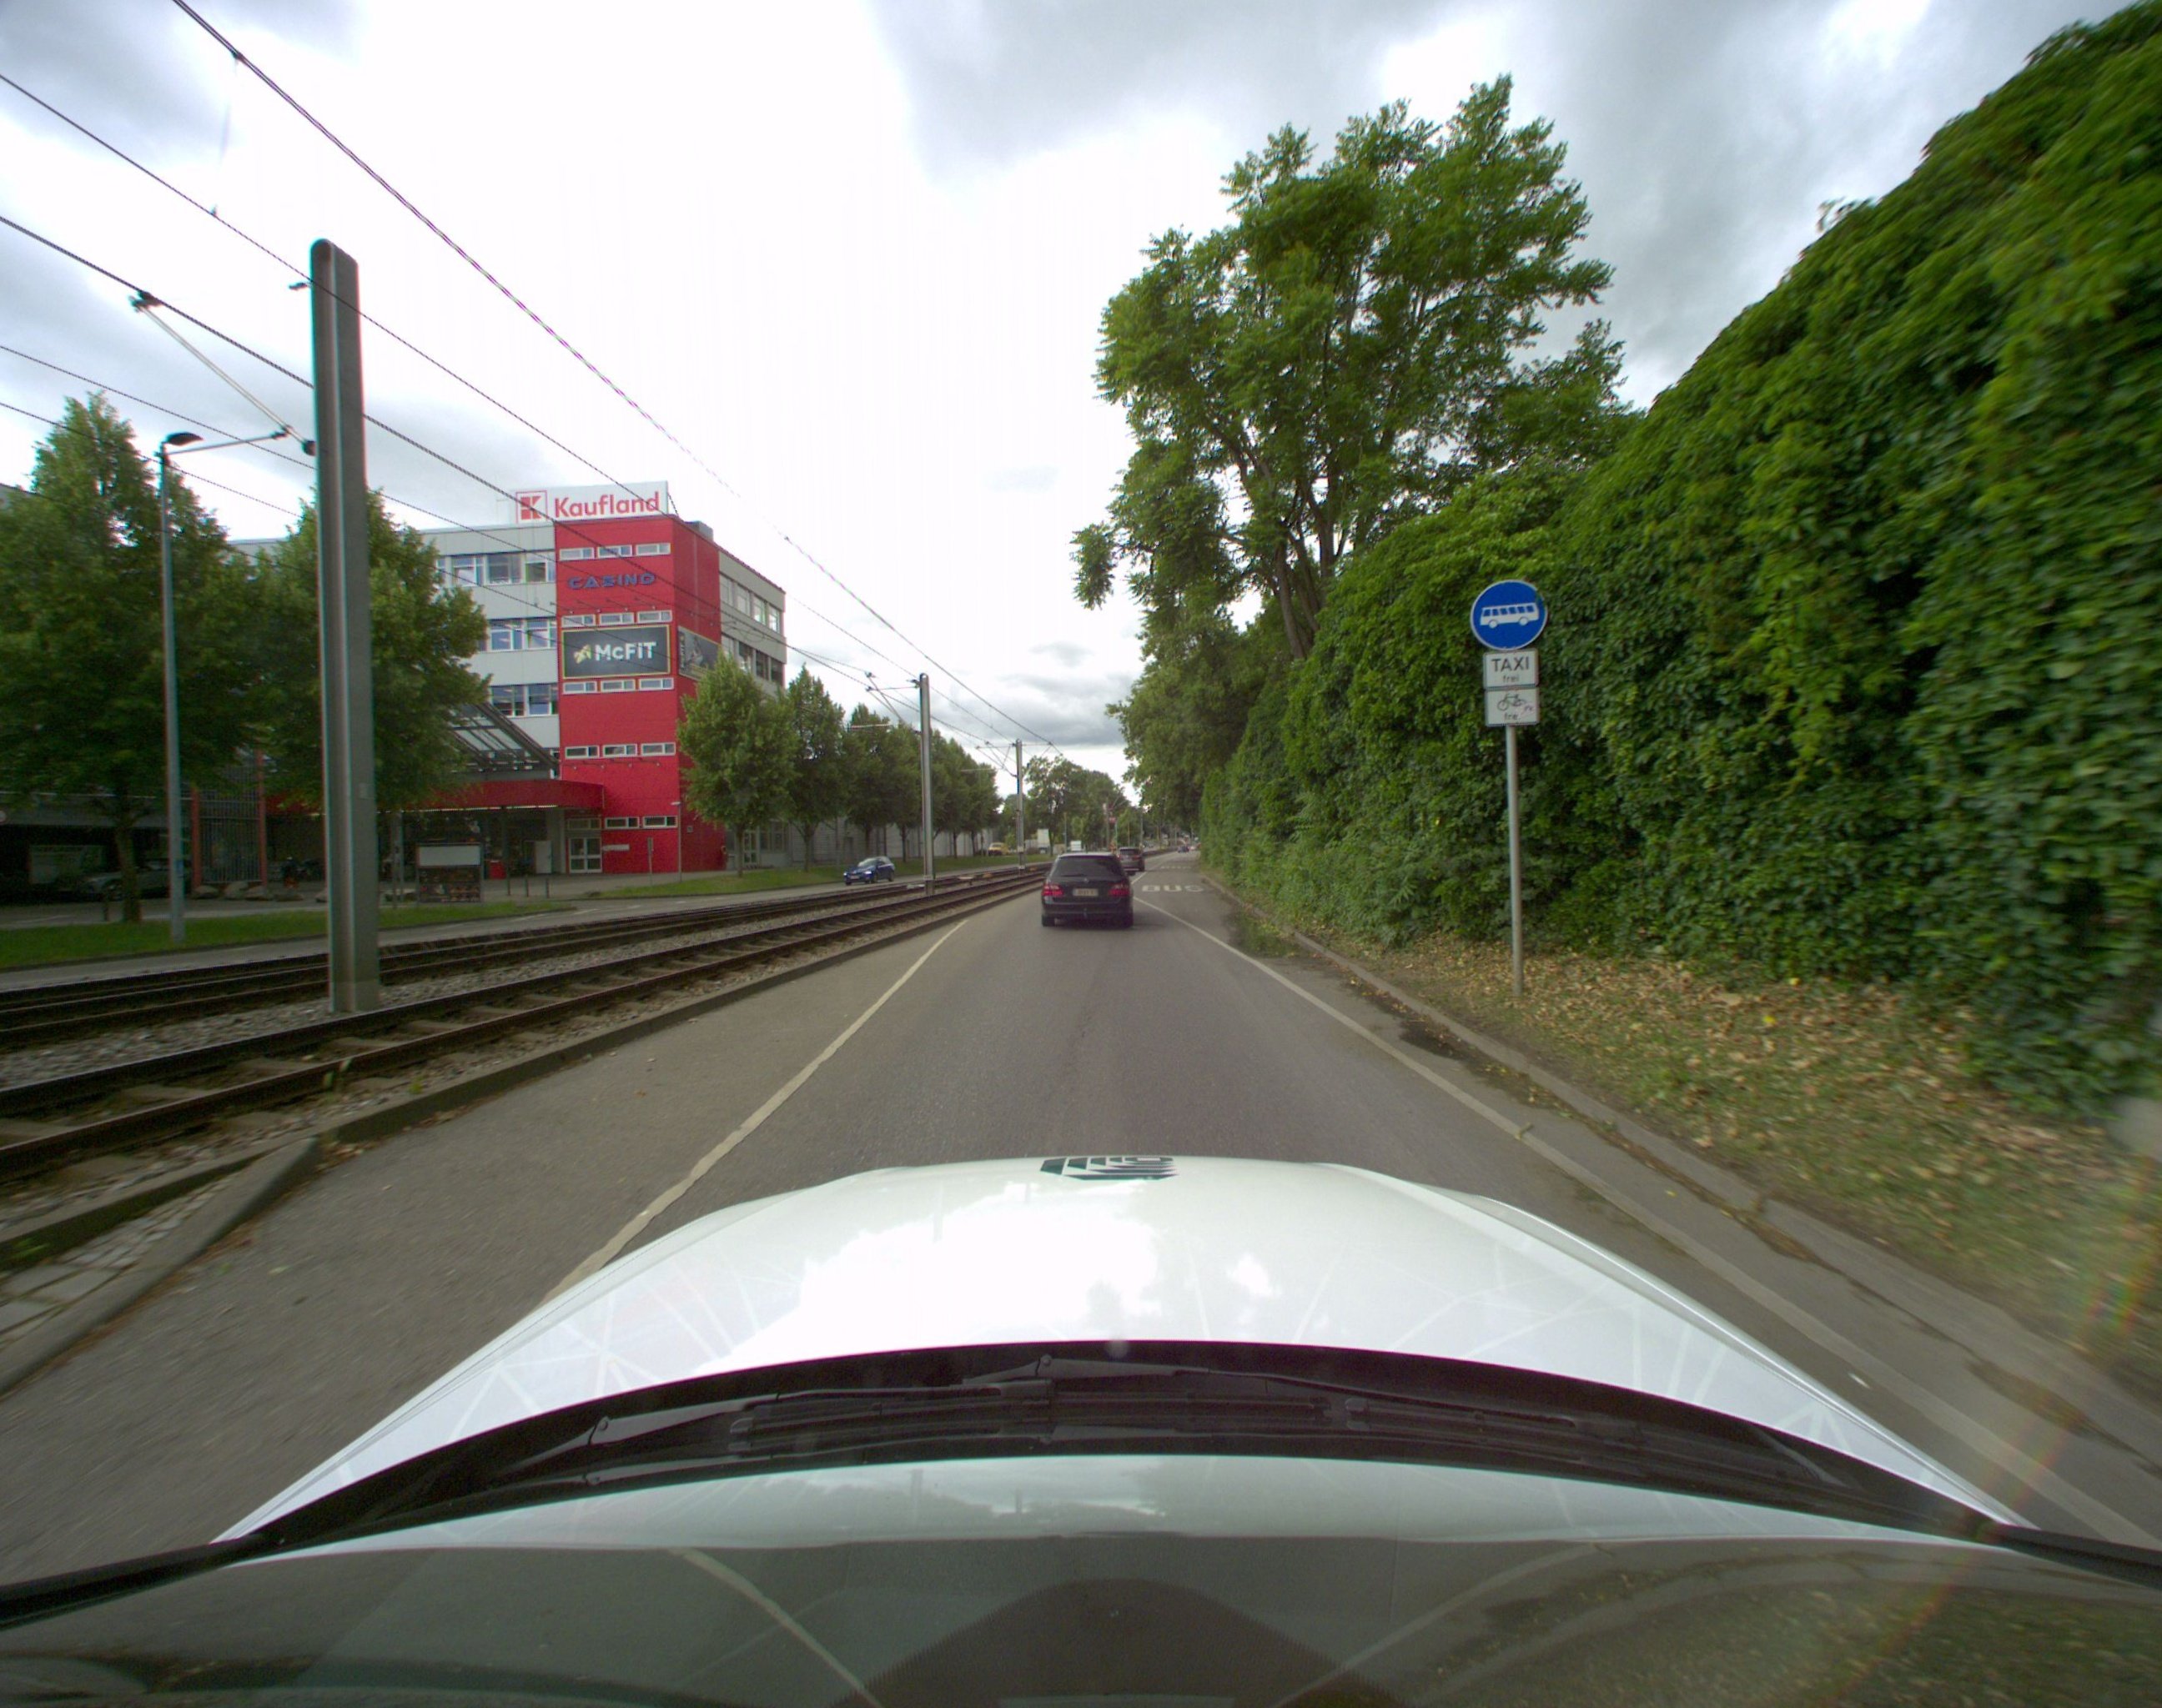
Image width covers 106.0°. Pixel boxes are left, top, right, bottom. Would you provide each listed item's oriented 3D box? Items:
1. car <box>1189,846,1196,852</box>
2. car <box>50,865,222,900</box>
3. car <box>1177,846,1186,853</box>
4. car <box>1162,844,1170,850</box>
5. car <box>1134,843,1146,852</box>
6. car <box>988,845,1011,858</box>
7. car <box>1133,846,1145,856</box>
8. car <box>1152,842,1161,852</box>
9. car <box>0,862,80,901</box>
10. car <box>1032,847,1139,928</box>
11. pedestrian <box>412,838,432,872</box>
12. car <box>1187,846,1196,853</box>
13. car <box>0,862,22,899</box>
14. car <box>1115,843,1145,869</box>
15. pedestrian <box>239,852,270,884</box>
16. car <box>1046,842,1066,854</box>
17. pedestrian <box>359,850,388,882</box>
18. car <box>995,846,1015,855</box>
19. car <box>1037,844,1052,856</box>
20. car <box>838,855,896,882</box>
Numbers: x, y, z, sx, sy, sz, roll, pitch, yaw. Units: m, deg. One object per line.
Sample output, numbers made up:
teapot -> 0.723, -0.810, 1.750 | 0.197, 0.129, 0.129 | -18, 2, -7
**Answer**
car -> 29.444, -1.227, 214.521 | 1.816, 1.530, 4.187 | -1, 0, 6
car -> -37.507, 1.101, 32.504 | 1.448, 1.226, 4.455 | -1, 0, 4
car -> 20.567, -0.904, 166.744 | 1.816, 1.530, 4.424 | -1, 0, 6
car -> 22.412, -1.816, 214.675 | 1.816, 1.530, 4.187 | -1, 0, 6
car -> 9.956, -1.105, 137.654 | 1.816, 1.530, 3.993 | -1, 0, 6
car -> -11.360, -0.323, 114.002 | 1.982, 1.743, 5.000 | -2, 0, 9
car -> 9.463, -0.457, 132.917 | 1.816, 1.530, 3.993 | -1, 0, 6
car -> 16.464, -1.558, 177.393 | 1.883, 2.013, 3.903 | -3, 0, 5
car -> -44.434, 1.167, 33.541 | 1.760, 1.552, 3.643 | -3, 0, 3
car -> 0.239, 0.606, 17.080 | 1.824, 1.478, 4.422 | -1, 0, 5
pedestrian -> -39.040, 0.062, 48.243 | 0.598, 2.013, 0.554 | -3, 0, 6
car -> 24.220, -1.062, 178.131 | 1.816, 1.530, 4.187 | -1, 0, 6
car -> -46.784, 1.148, 33.361 | 1.666, 1.552, 3.814 | -3, 0, 3
car -> 3.128, 0.092, 51.430 | 1.817, 1.530, 4.421 | -1, 0, 4
pedestrian -> -44.834, 0.731, 44.178 | 0.734, 1.695, 0.867 | -3, 0, 4
car -> -5.094, -1.207, 164.842 | 3.974, 2.123, 2.000 | -3, 0, -1
pedestrian -> -38.624, 0.660, 44.466 | 0.734, 1.695, 0.867 | -3, 0, 4
car -> -15.833, -0.708, 169.699 | 3.988, 1.680, 1.993 | -3, 0, -11
car -> -6.477, -0.727, 144.281 | 1.984, 2.013, 4.005 | -3, 0, 4
car -> -11.675, 0.772, 44.660 | 1.649, 1.393, 3.729 | -1, 0, 10
